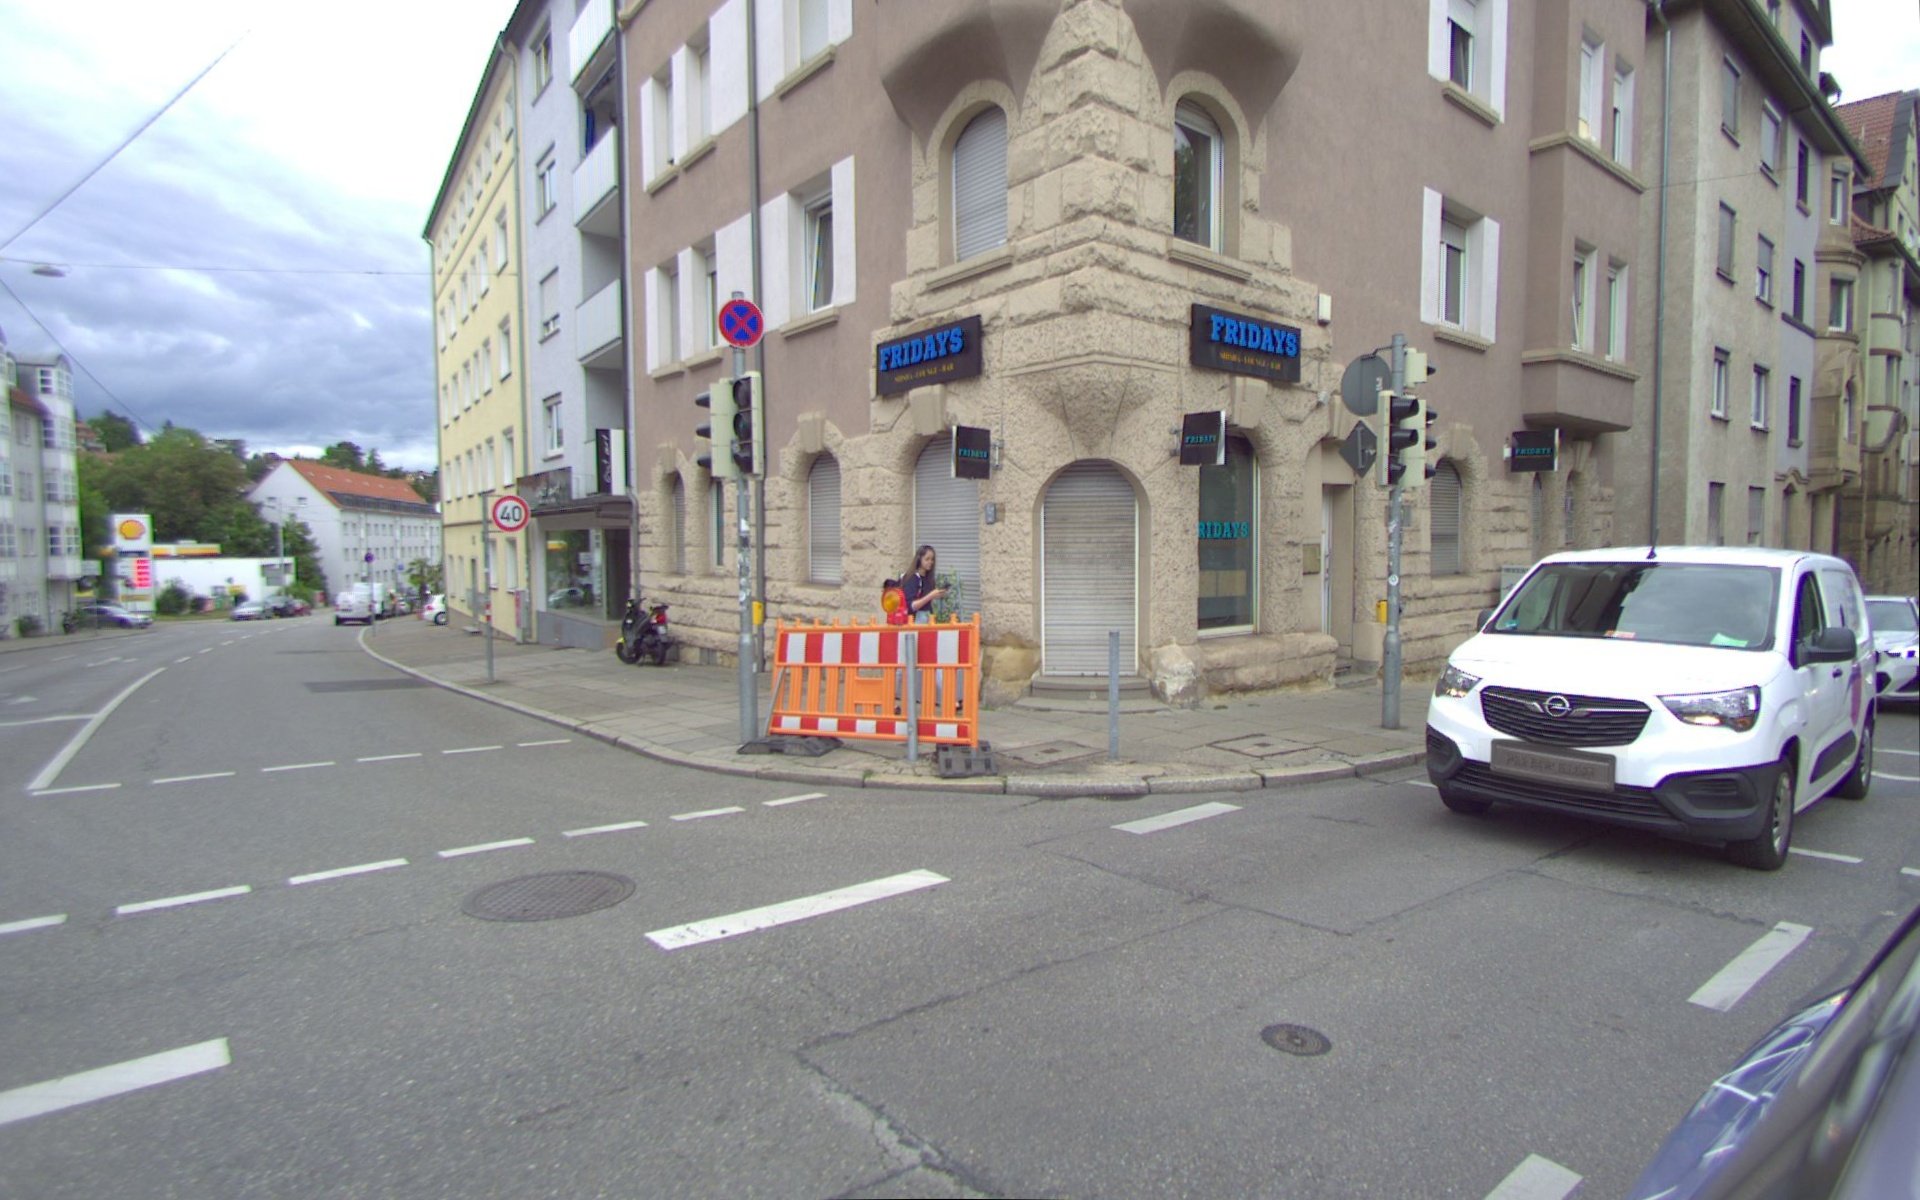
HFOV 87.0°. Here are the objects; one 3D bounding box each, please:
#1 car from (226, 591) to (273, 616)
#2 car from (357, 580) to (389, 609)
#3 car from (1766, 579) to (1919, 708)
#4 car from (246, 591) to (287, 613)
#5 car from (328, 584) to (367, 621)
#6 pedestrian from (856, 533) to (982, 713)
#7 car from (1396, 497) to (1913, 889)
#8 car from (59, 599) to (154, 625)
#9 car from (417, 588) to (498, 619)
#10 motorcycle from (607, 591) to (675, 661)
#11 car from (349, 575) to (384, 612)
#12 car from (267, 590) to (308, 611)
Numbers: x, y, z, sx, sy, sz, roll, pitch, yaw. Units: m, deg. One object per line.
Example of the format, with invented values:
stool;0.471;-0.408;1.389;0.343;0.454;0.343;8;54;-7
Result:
car;-52.233;0.237;74.467;1.837;1.790;4.009;0;1;-20
car;-48.250;-0.475;83.265;1.959;2.311;4.071;-1;1;-25
car;13.215;0.553;14.616;4.091;1.628;1.778;0;-1;-41
car;-54.109;0.102;78.998;1.837;1.640;4.008;0;1;-22
car;-35.856;0.108;59.175;1.833;1.882;4.004;0;3;-33
pedestrian;-0.408;0.195;9.969;0.999;1.668;0.725;1;1;37
car;4.978;0.400;6.925;4.759;1.811;1.787;0;1;-41
car;-51.632;0.705;61.310;3.916;1.454;2.004;-1;1;-15
car;-24.342;0.157;49.054;3.428;1.415;1.781;0;1;-29
motorcycle;-5.441;0.416;17.208;0.505;1.096;1.683;-4;4;-38
car;-40.533;-0.449;69.070;1.833;2.257;4.004;0;3;-33
car;-55.575;-0.004;83.733;1.837;1.640;4.009;0;1;-19
